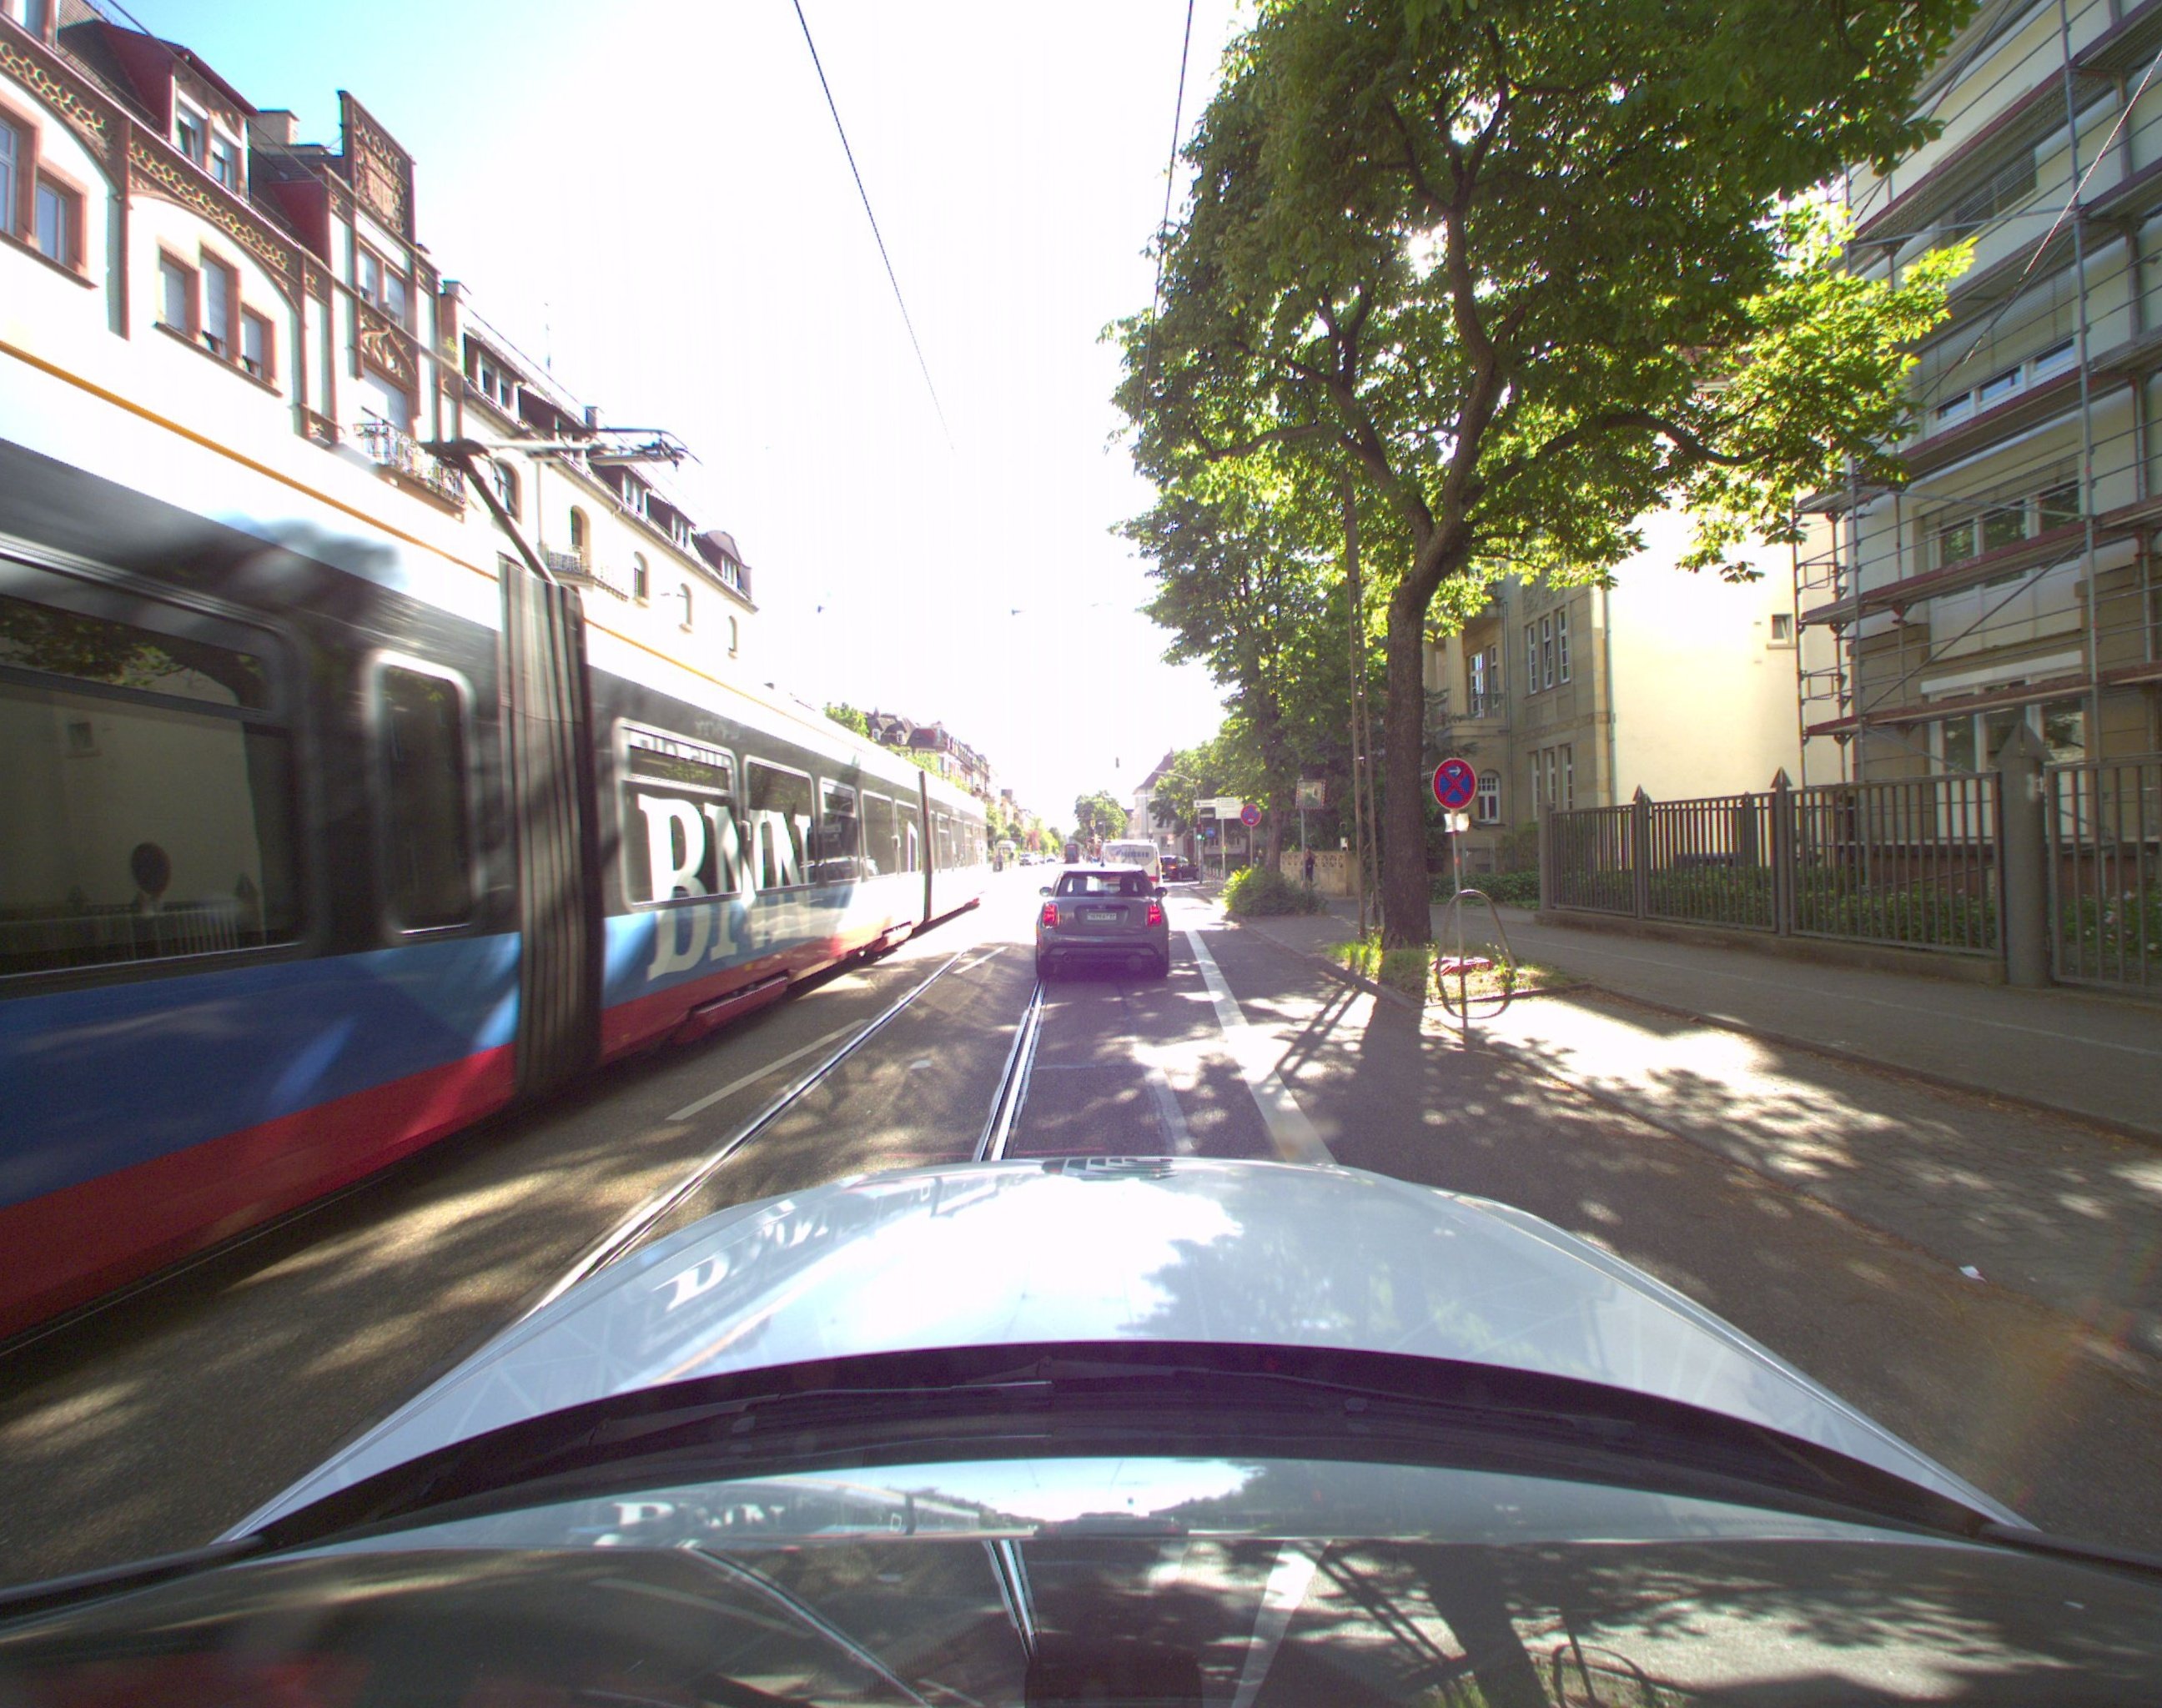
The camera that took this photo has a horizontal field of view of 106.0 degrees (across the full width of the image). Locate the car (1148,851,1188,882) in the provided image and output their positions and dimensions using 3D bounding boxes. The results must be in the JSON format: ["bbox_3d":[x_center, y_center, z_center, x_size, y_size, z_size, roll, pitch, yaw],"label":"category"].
[{"bbox_3d":[4.958,0.693,46.847,1.986,1.706,4.002,0,-1,2],"label":"car"}]

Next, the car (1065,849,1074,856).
[{"bbox_3d":[-2.490,-0.286,172.585,1.859,1.563,3.997,0,-1,-2],"label":"car"}]

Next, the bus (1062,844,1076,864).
[{"bbox_3d":[-2.142,0.073,146.973,2.379,3.496,7.377,0,-1,-2],"label":"bus"}]

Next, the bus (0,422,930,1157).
[{"bbox_3d":[-4.257,-0.292,9.804,2.851,3.777,11.179,0,-1,-1],"label":"bus"}]

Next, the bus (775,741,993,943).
[{"bbox_3d":[-4.363,-0.162,21.408,2.841,3.777,12.193,0,-1,0],"label":"bus"}]

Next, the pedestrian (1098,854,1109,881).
[{"bbox_3d":[1.711,1.052,62.790,0.793,2.014,0.740,0,-1,0],"label":"pedestrian"}]

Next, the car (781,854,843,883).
[{"bbox_3d":[-19.039,1.035,57.635,3.949,2.014,2.012,-1,-1,30],"label":"car"}]

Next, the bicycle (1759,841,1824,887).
[{"bbox_3d":[18.836,0.254,21.582,1.697,1.199,0.434,0,-1,-16],"label":"bicycle"}]

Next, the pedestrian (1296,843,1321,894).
[{"bbox_3d":[7.593,0.489,27.214,0.590,1.671,0.647,-3,-1,1],"label":"pedestrian"}]

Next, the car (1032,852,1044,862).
[{"bbox_3d":[-7.089,0.502,135.023,1.771,1.618,3.997,0,-1,-2],"label":"car"}]

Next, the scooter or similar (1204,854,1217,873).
[{"bbox_3d":[9.320,0.685,58.648,0.673,1.310,1.329,0,-1,1],"label":"scooter or similar"}]

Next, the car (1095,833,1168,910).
[{"bbox_3d":[1.555,0.533,26.161,2.110,2.208,4.946,0,-1,2],"label":"car"}]

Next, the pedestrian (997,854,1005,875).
[{"bbox_3d":[-6.742,0.869,68.716,0.579,1.795,0.604,-2,0,-17],"label":"pedestrian"}]

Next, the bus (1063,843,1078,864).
[{"bbox_3d":[-1.858,-0.025,139.530,2.379,3.496,7.377,0,-1,-2],"label":"bus"}]

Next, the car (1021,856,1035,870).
[{"bbox_3d":[-7.753,1.313,118.582,1.990,2.014,5.019,0,-1,-5],"label":"car"}]

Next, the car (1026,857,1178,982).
[{"bbox_3d":[0.319,0.807,11.749,1.808,1.488,4.001,0,-1,2],"label":"car"}]

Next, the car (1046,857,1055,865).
[{"bbox_3d":[-6.186,1.352,165.549,1.771,1.618,3.997,0,-1,-2],"label":"car"}]
